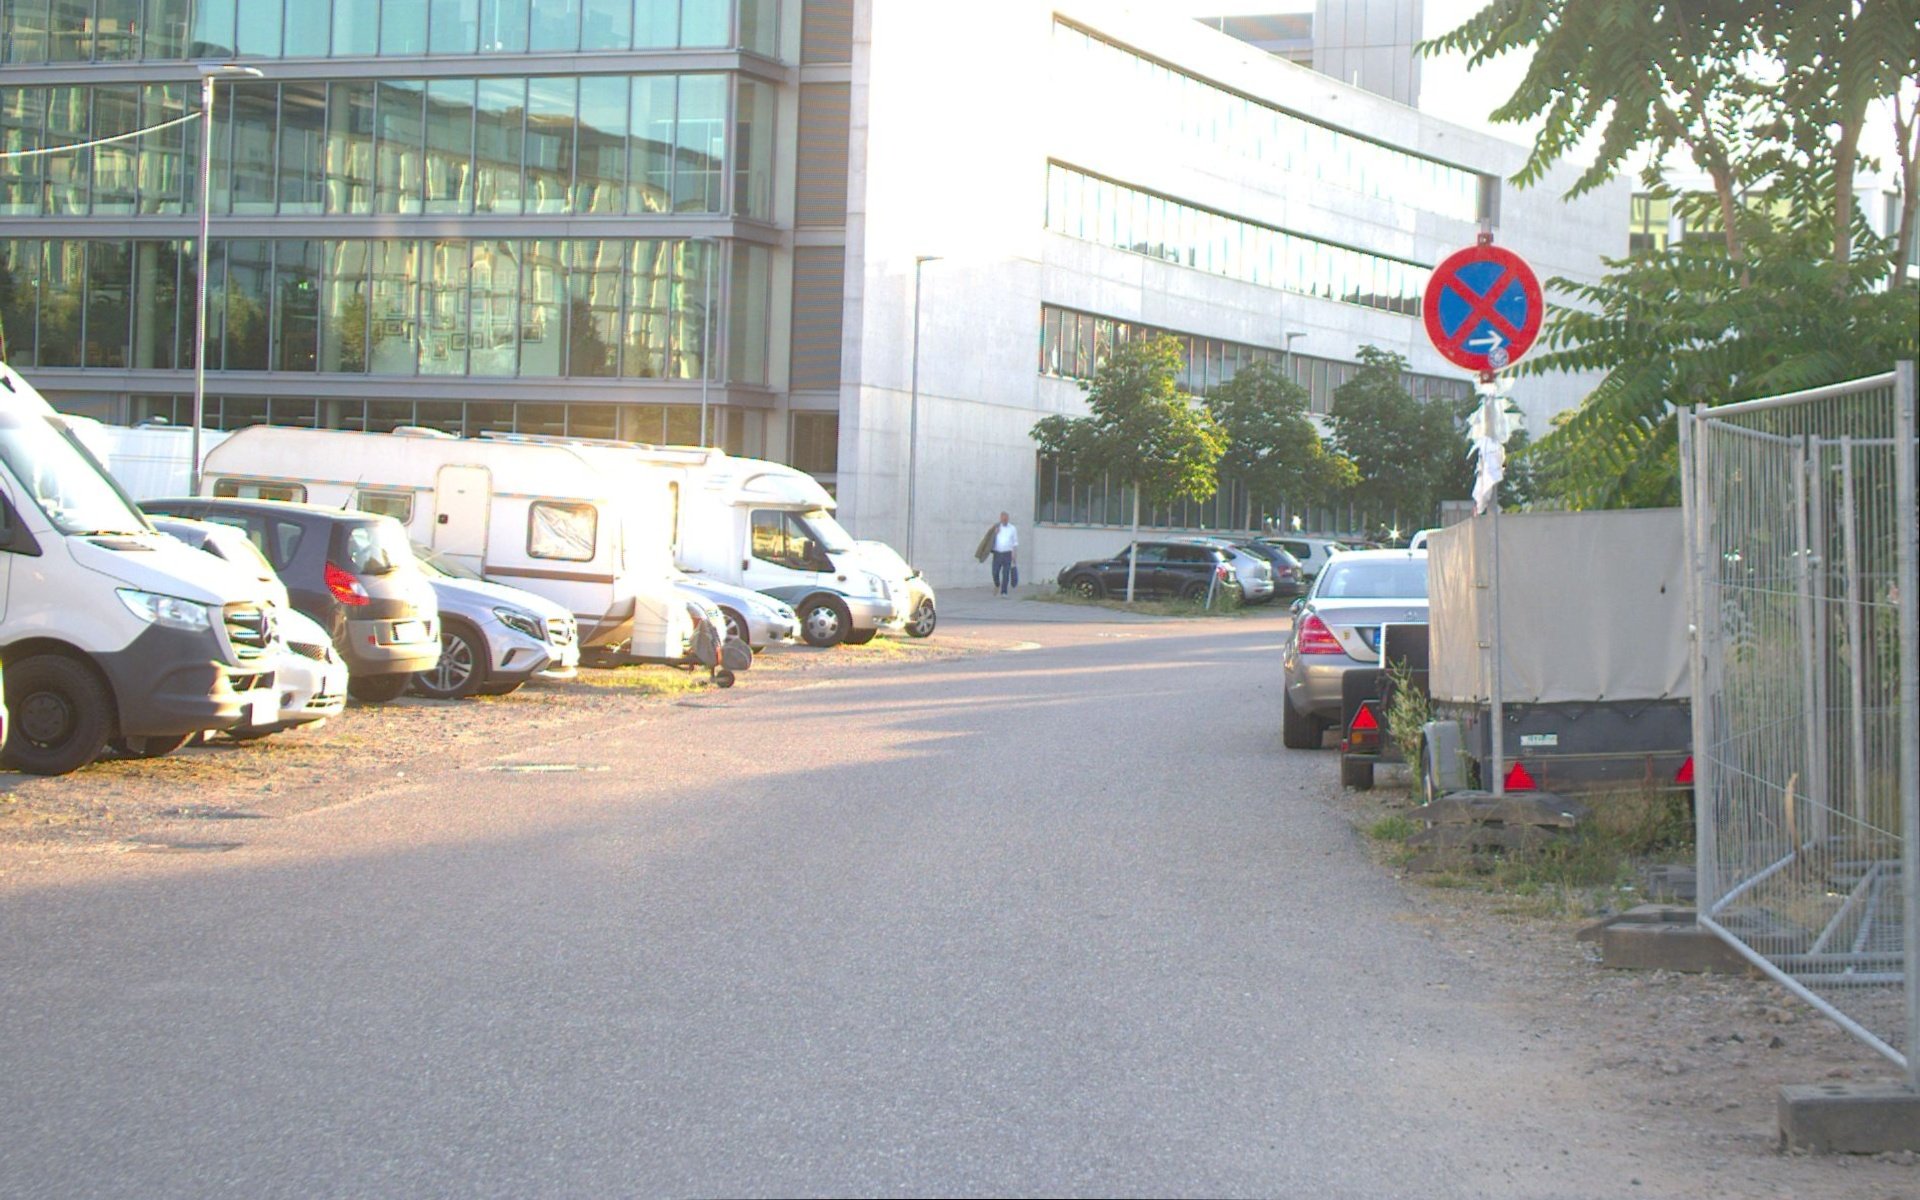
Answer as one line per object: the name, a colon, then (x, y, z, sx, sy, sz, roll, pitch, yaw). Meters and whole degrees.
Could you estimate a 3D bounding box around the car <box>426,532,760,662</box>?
car: (-4.478, -0.058, 42.195, 3.727, 1.362, 1.705, 3, 1, 7)

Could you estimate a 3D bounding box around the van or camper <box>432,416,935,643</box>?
van or camper: (-3.963, -1.031, 49.696, 6.744, 2.887, 2.407, 3, 1, 11)

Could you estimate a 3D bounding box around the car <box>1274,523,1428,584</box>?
car: (10.499, -1.244, 92.303, 3.707, 1.452, 1.709, 3, 1, 23)

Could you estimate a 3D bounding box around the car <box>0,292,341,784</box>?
car: (-6.927, -0.529, 20.710, 5.826, 2.703, 2.050, 4, 2, 4)

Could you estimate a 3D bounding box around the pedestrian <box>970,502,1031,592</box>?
pedestrian: (0.843, -1.109, 71.466, 0.899, 1.844, 0.856, 0, 2, -37)

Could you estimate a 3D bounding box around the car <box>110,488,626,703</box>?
car: (-5.294, -0.068, 30.882, 4.129, 1.585, 1.747, 4, 2, 14)

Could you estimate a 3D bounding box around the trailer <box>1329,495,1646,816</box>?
trailer: (3.216, 0.259, 21.510, 1.731, 1.771, 4.936, 0, 1, 7)

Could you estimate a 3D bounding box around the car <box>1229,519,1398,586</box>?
car: (8.987, -1.217, 87.375, 3.875, 1.506, 1.758, 3, 2, 23)

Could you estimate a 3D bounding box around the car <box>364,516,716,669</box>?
car: (-4.778, -0.108, 39.378, 3.629, 1.514, 1.705, 3, 1, 7)

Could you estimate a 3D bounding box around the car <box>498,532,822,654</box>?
car: (-3.847, -0.109, 44.390, 3.809, 1.324, 1.692, 3, 1, 9)

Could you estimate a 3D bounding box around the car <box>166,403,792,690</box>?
car: (-4.974, -0.609, 35.897, 5.891, 2.525, 2.411, 4, 3, 12)

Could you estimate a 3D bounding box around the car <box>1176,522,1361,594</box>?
car: (7.392, -1.023, 82.342, 3.992, 1.506, 1.758, 3, 2, 23)

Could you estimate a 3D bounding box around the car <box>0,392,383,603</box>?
car: (-11.579, -1.487, 48.724, 6.247, 2.664, 2.221, 3, 1, 16)

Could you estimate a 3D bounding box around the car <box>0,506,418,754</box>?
car: (-5.848, 0.142, 23.241, 3.926, 1.502, 1.789, 3, 1, 6)

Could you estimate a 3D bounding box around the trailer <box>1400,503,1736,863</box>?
trailer: (2.987, 0.359, 17.281, 1.250, 1.659, 2.803, 0, 1, 1)

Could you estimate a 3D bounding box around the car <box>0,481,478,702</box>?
car: (-6.140, -0.103, 28.154, 3.928, 1.585, 1.747, 3, 1, 14)

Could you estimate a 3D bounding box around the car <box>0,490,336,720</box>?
car: (-6.921, -0.005, 26.039, 3.926, 1.585, 1.748, 3, 0, 6)

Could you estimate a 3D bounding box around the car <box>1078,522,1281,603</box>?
car: (4.825, -0.831, 75.525, 4.089, 1.523, 1.845, 3, 2, 16)

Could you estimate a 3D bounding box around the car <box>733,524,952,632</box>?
car: (-1.754, -0.326, 52.892, 1.688, 1.514, 4.356, 4, 1, 21)

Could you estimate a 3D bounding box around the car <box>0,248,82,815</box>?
car: (-7.777, -0.517, 16.598, 6.387, 2.704, 2.113, 4, 0, -1)

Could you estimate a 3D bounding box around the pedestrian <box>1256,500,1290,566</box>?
pedestrian: (8.678, -1.859, 95.275, 0.646, 1.778, 0.724, 3, 1, 22)

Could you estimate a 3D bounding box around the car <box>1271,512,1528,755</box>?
car: (3.422, 0.192, 26.817, 1.806, 1.719, 4.927, 0, 1, 7)

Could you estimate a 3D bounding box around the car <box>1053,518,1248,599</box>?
car: (4.043, -0.896, 72.775, 3.737, 1.477, 1.768, 3, 2, 16)

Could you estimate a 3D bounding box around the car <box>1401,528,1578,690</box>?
car: (6.485, 0.055, 41.800, 1.772, 1.825, 4.405, 1, 2, 13)

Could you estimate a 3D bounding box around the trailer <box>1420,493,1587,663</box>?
trailer: (7.639, -0.347, 47.995, 2.065, 2.204, 5.220, 1, 1, 11)

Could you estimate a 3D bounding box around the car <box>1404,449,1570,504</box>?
car: (15.436, -3.617, 100.772, 4.441, 1.459, 1.760, 3, 2, 28)

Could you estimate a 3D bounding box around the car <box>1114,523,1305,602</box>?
car: (5.625, -0.853, 77.415, 4.001, 1.507, 1.584, 3, 3, 16)
